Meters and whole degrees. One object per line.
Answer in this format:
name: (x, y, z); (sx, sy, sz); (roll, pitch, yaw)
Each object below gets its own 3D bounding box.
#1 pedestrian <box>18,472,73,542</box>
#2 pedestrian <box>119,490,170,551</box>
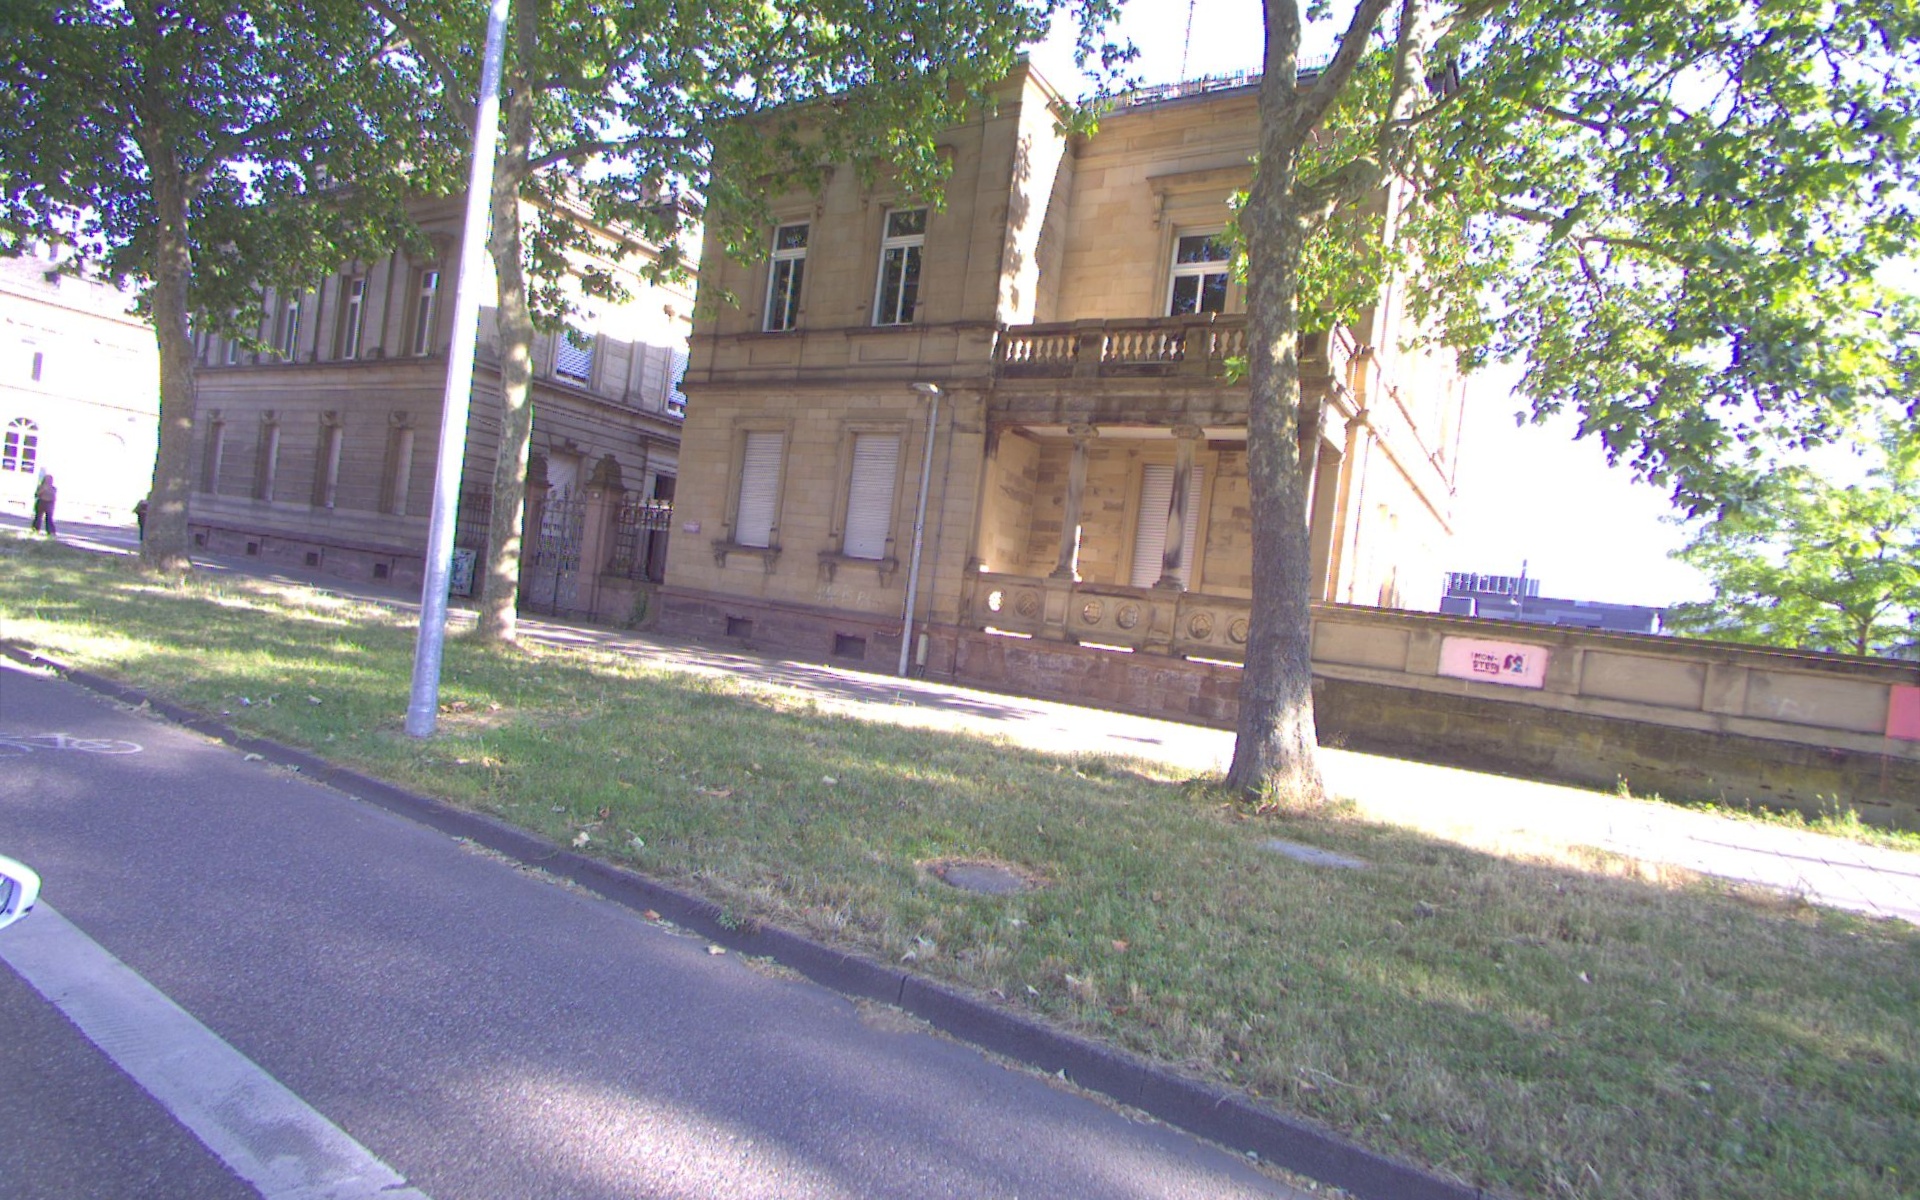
pedestrian: (-24.863, -2.530, 27.361); (1.025, 1.731, 0.770); (7, 1, 34)
pedestrian: (-23.547, -2.289, 29.051); (0.970, 1.626, 0.770); (7, 1, 34)
